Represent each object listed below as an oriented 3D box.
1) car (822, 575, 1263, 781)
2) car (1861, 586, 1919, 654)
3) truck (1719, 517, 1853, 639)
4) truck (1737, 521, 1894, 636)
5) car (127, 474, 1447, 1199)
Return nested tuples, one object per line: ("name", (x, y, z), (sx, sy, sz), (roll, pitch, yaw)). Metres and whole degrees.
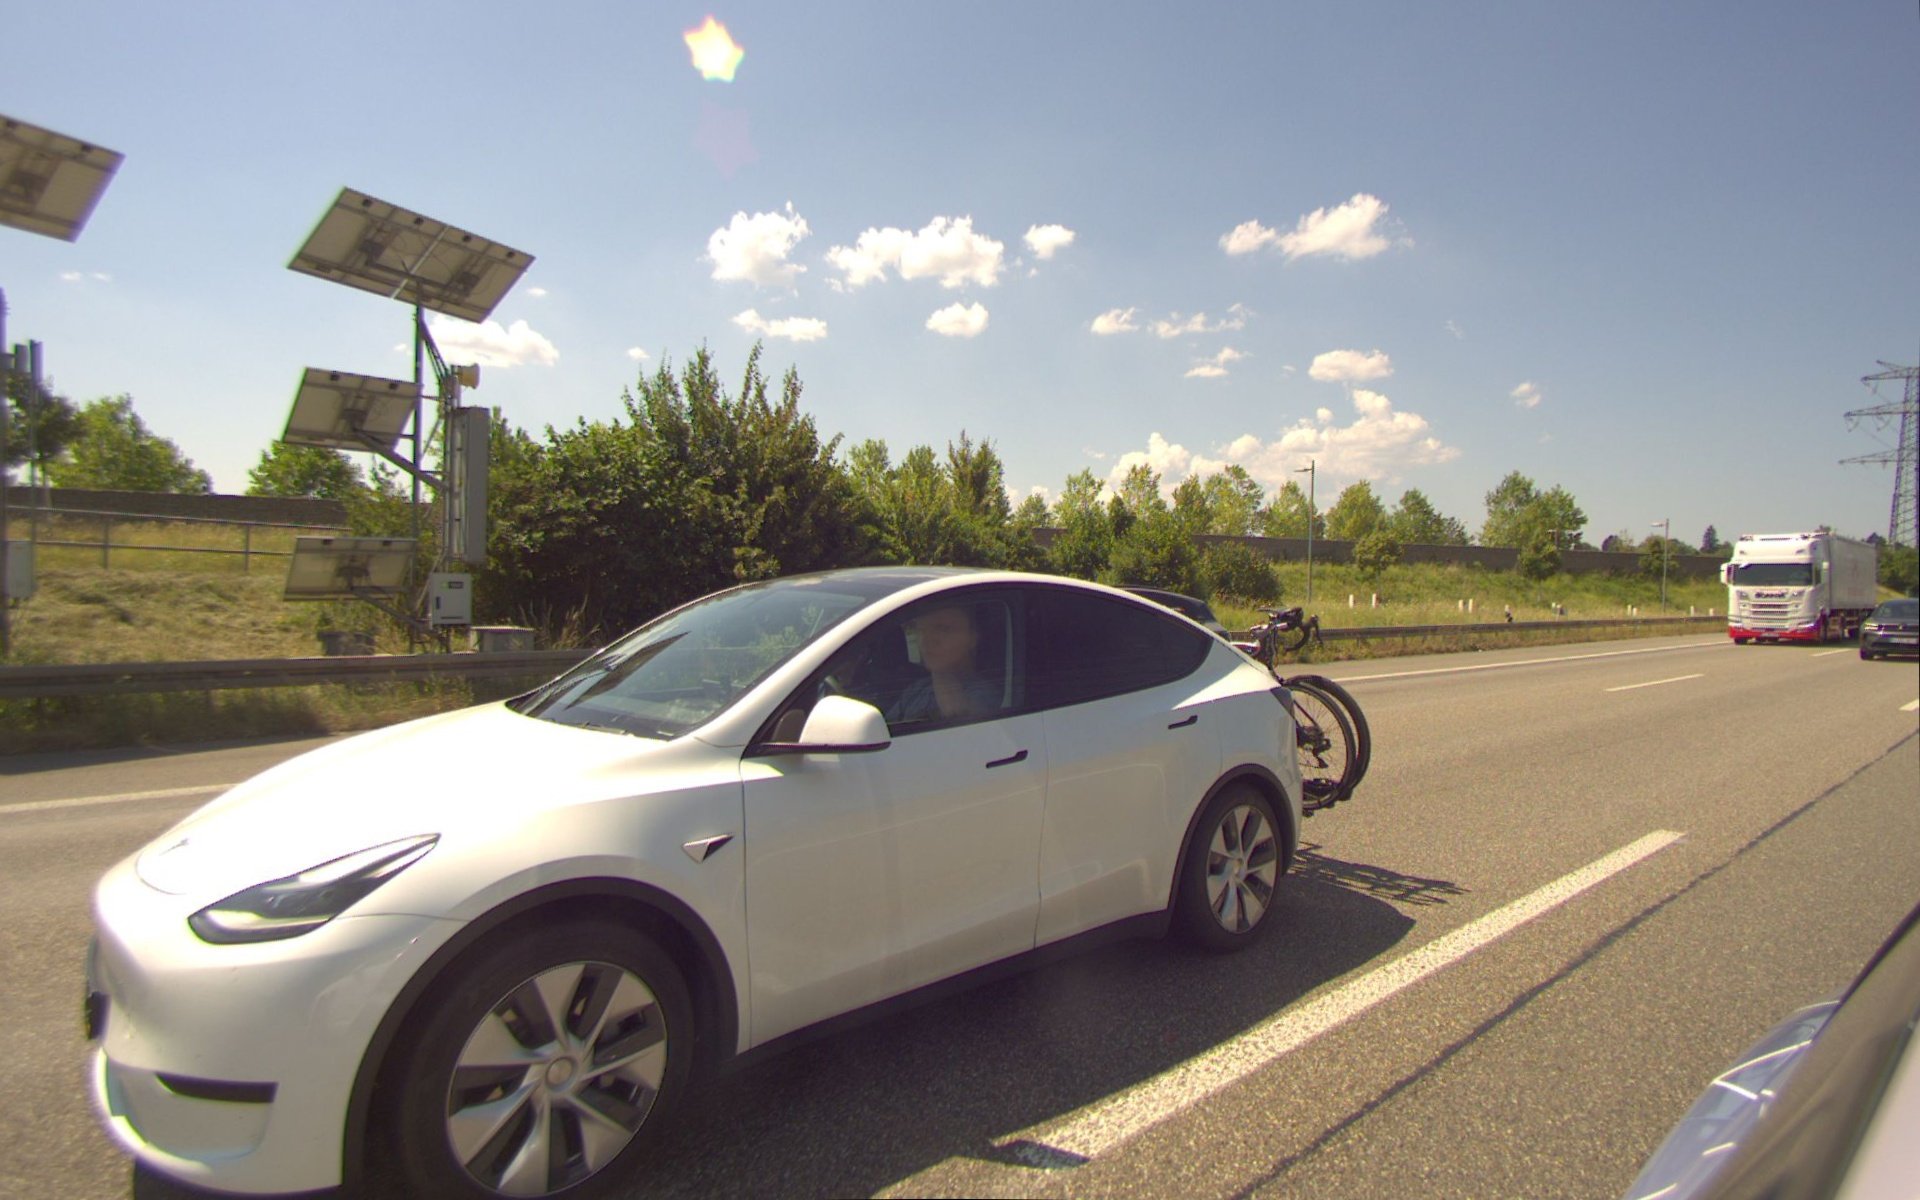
("car", (1.006, 0.612, 10.330), (4.505, 1.657, 1.871), (-1, 0, -41))
("car", (25.233, 0.480, 26.428), (3.975, 1.667, 1.954), (-1, 0, -40))
("truck", (28.765, -0.741, 35.240), (3.781, 3.957, 3.073), (0, 0, -42))
("truck", (33.985, -0.782, 39.947), (12.289, 3.957, 3.073), (0, 0, -42))
("car", (-0.044, 0.576, 4.417), (5.504, 1.657, 1.953), (-1, 0, -42))
